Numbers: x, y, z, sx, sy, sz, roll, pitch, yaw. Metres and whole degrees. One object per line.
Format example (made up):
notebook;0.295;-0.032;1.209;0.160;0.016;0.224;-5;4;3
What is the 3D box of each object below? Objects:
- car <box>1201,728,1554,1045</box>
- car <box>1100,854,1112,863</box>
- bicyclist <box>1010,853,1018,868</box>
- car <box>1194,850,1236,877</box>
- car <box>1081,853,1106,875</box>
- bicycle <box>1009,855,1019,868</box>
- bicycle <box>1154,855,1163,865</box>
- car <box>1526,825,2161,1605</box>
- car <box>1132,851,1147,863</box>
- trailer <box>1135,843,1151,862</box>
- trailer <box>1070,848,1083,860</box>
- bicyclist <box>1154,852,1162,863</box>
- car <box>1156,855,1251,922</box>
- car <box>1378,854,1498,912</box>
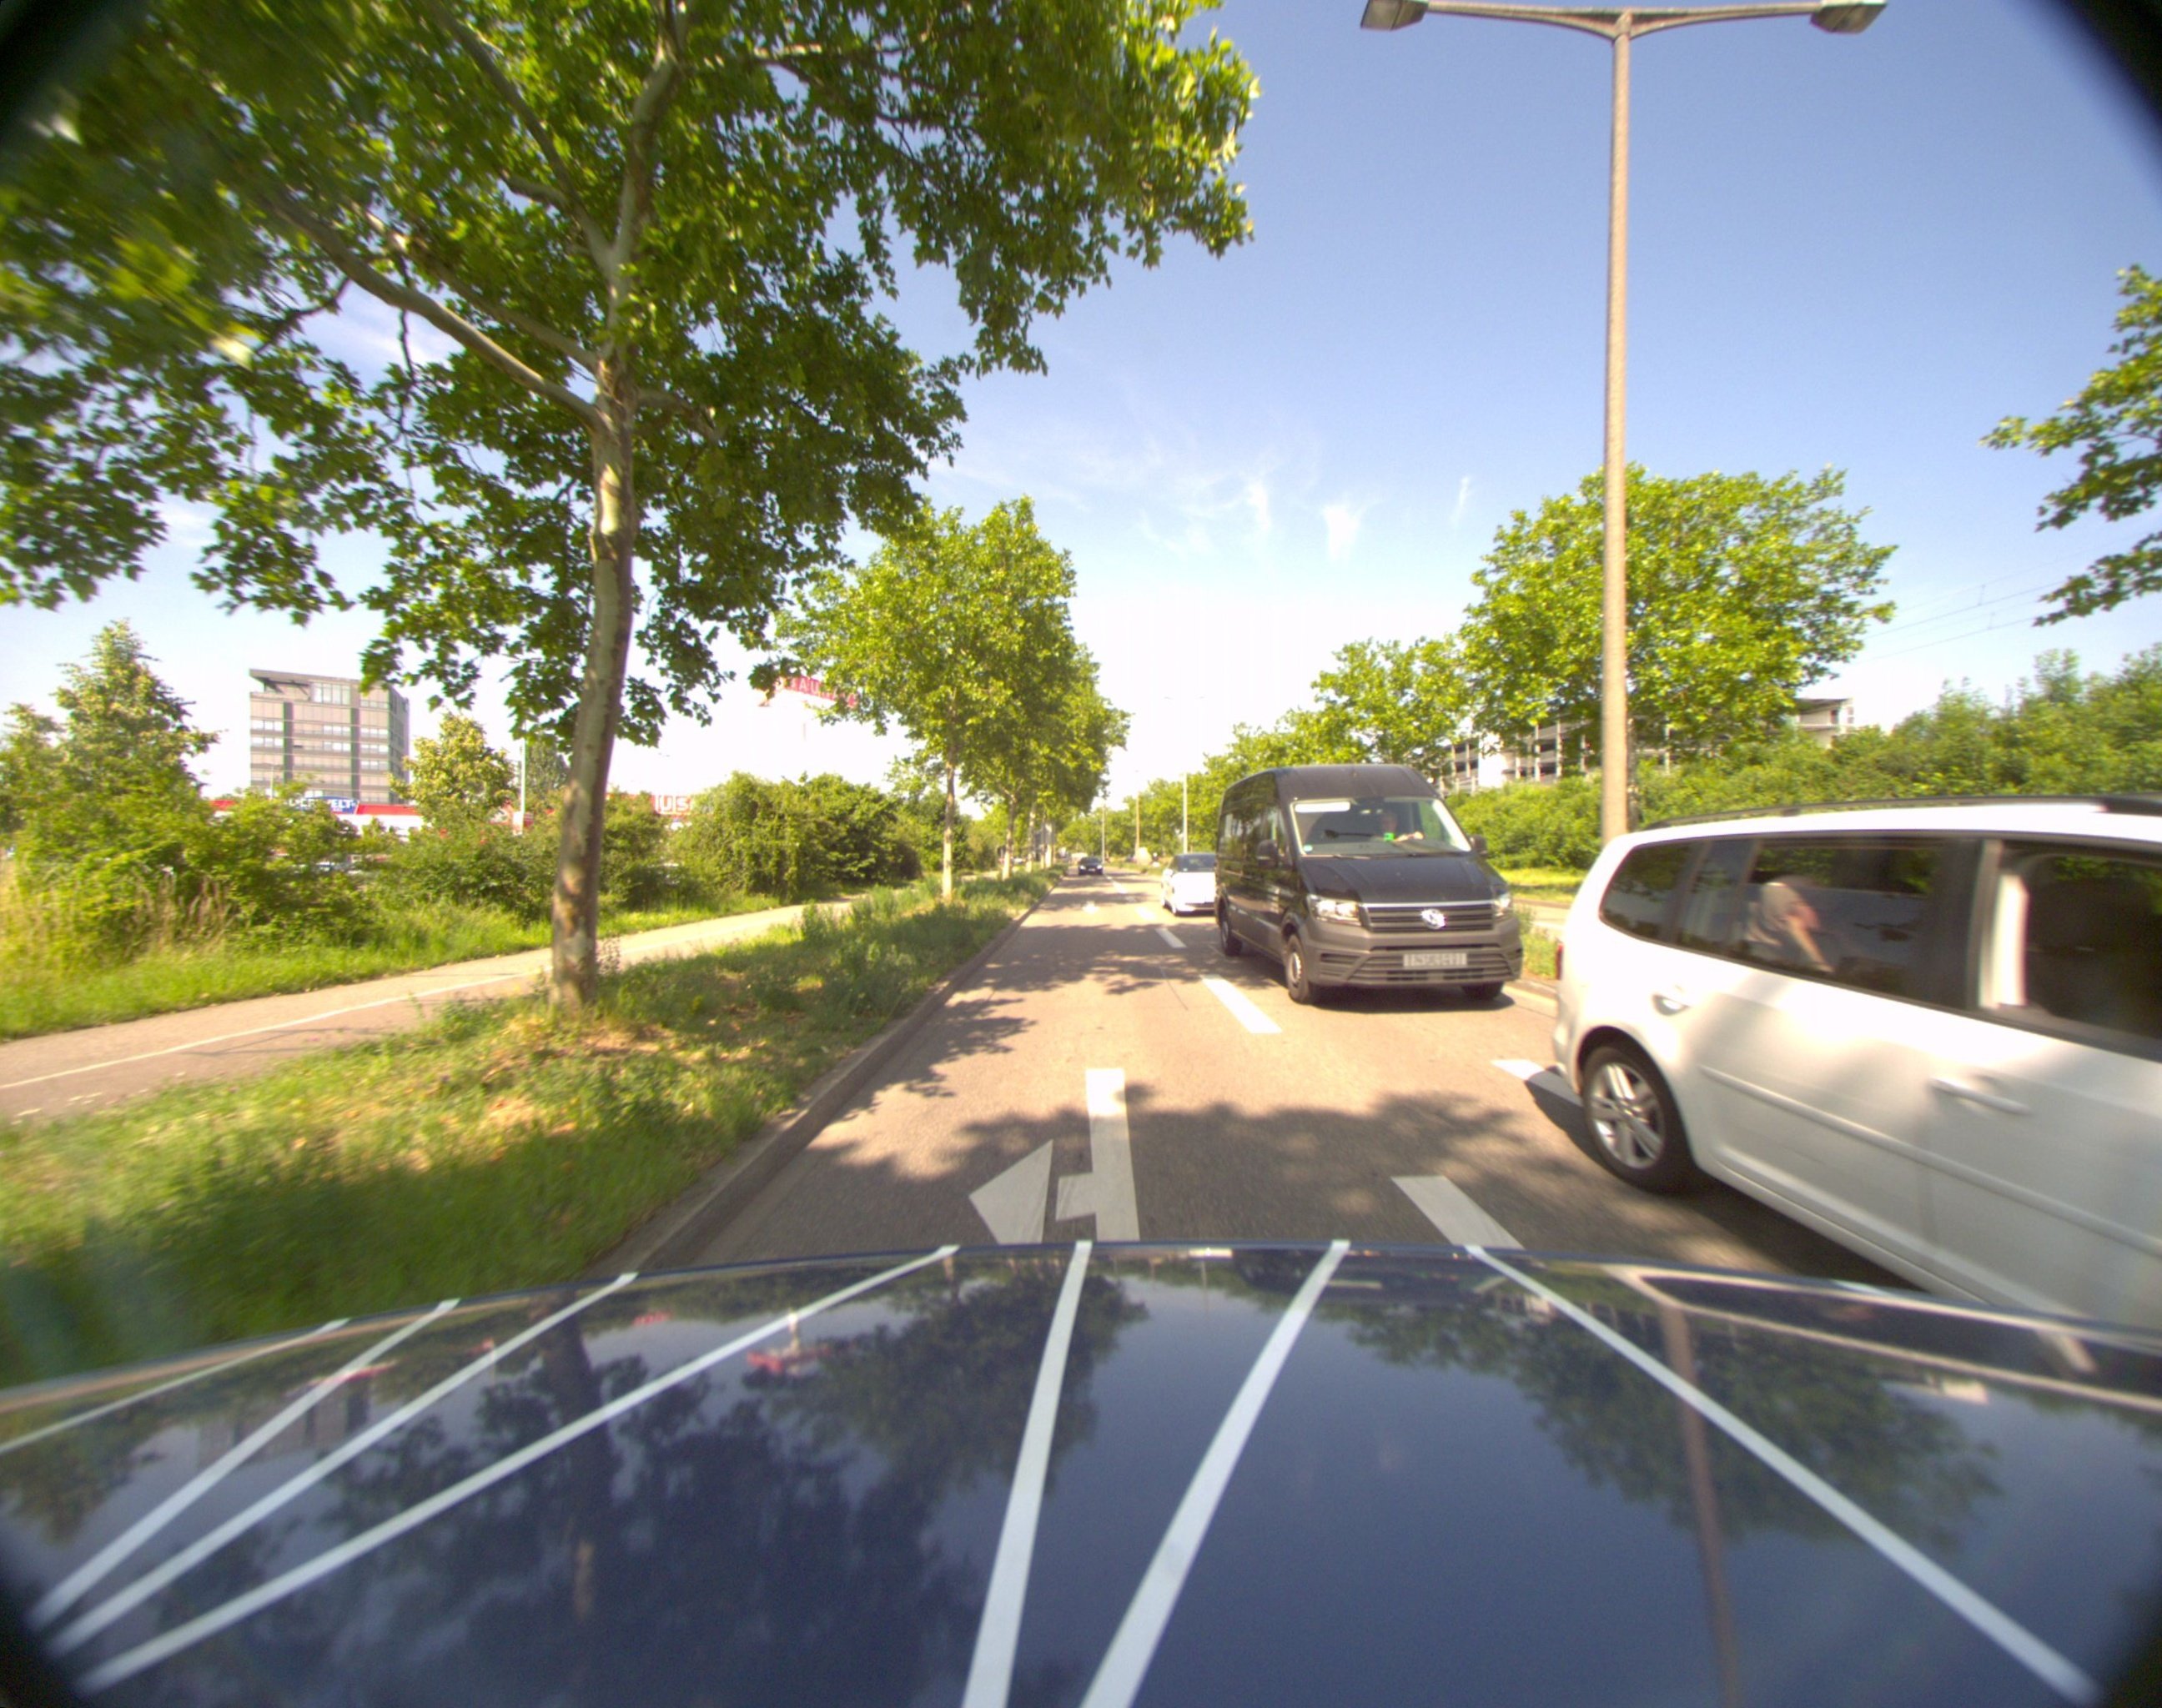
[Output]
car;2.954;0.254;9.400;2.021;2.592;6.168;-1;0;1
car;4.140;0.779;125.347;1.607;1.463;3.789;-1;0;-3
bicyclist;-6.789;0.644;76.880;0.706;1.468;1.009;-1;1;1
car;8.307;0.576;47.388;1.858;1.574;4.175;-1;0;0
car;0.886;0.733;57.229;1.721;1.575;3.754;-1;0;-1
bicycle;-6.768;0.774;76.878;0.724;1.291;2.095;-1;1;1
bicycle;8.362;0.675;82.358;0.730;1.023;2.217;-2;-1;1
car;3.147;0.741;1.737;1.776;1.638;4.352;-1;0;1
car;8.949;0.482;116.563;1.769;1.779;5.375;-2;0;-1
trailer;9.117;-0.195;111.807;1.885;2.728;4.827;-2;1;-1
trailer;-0.860;0.059;148.268;2.314;2.252;5.538;-1;0;1
bicyclist;8.363;0.357;82.351;0.730;1.183;1.102;-2;-1;1
car;3.052;0.803;19.790;1.824;1.512;4.208;-1;0;1
car;10.167;0.764;21.985;1.736;1.503;4.000;0;0;2
